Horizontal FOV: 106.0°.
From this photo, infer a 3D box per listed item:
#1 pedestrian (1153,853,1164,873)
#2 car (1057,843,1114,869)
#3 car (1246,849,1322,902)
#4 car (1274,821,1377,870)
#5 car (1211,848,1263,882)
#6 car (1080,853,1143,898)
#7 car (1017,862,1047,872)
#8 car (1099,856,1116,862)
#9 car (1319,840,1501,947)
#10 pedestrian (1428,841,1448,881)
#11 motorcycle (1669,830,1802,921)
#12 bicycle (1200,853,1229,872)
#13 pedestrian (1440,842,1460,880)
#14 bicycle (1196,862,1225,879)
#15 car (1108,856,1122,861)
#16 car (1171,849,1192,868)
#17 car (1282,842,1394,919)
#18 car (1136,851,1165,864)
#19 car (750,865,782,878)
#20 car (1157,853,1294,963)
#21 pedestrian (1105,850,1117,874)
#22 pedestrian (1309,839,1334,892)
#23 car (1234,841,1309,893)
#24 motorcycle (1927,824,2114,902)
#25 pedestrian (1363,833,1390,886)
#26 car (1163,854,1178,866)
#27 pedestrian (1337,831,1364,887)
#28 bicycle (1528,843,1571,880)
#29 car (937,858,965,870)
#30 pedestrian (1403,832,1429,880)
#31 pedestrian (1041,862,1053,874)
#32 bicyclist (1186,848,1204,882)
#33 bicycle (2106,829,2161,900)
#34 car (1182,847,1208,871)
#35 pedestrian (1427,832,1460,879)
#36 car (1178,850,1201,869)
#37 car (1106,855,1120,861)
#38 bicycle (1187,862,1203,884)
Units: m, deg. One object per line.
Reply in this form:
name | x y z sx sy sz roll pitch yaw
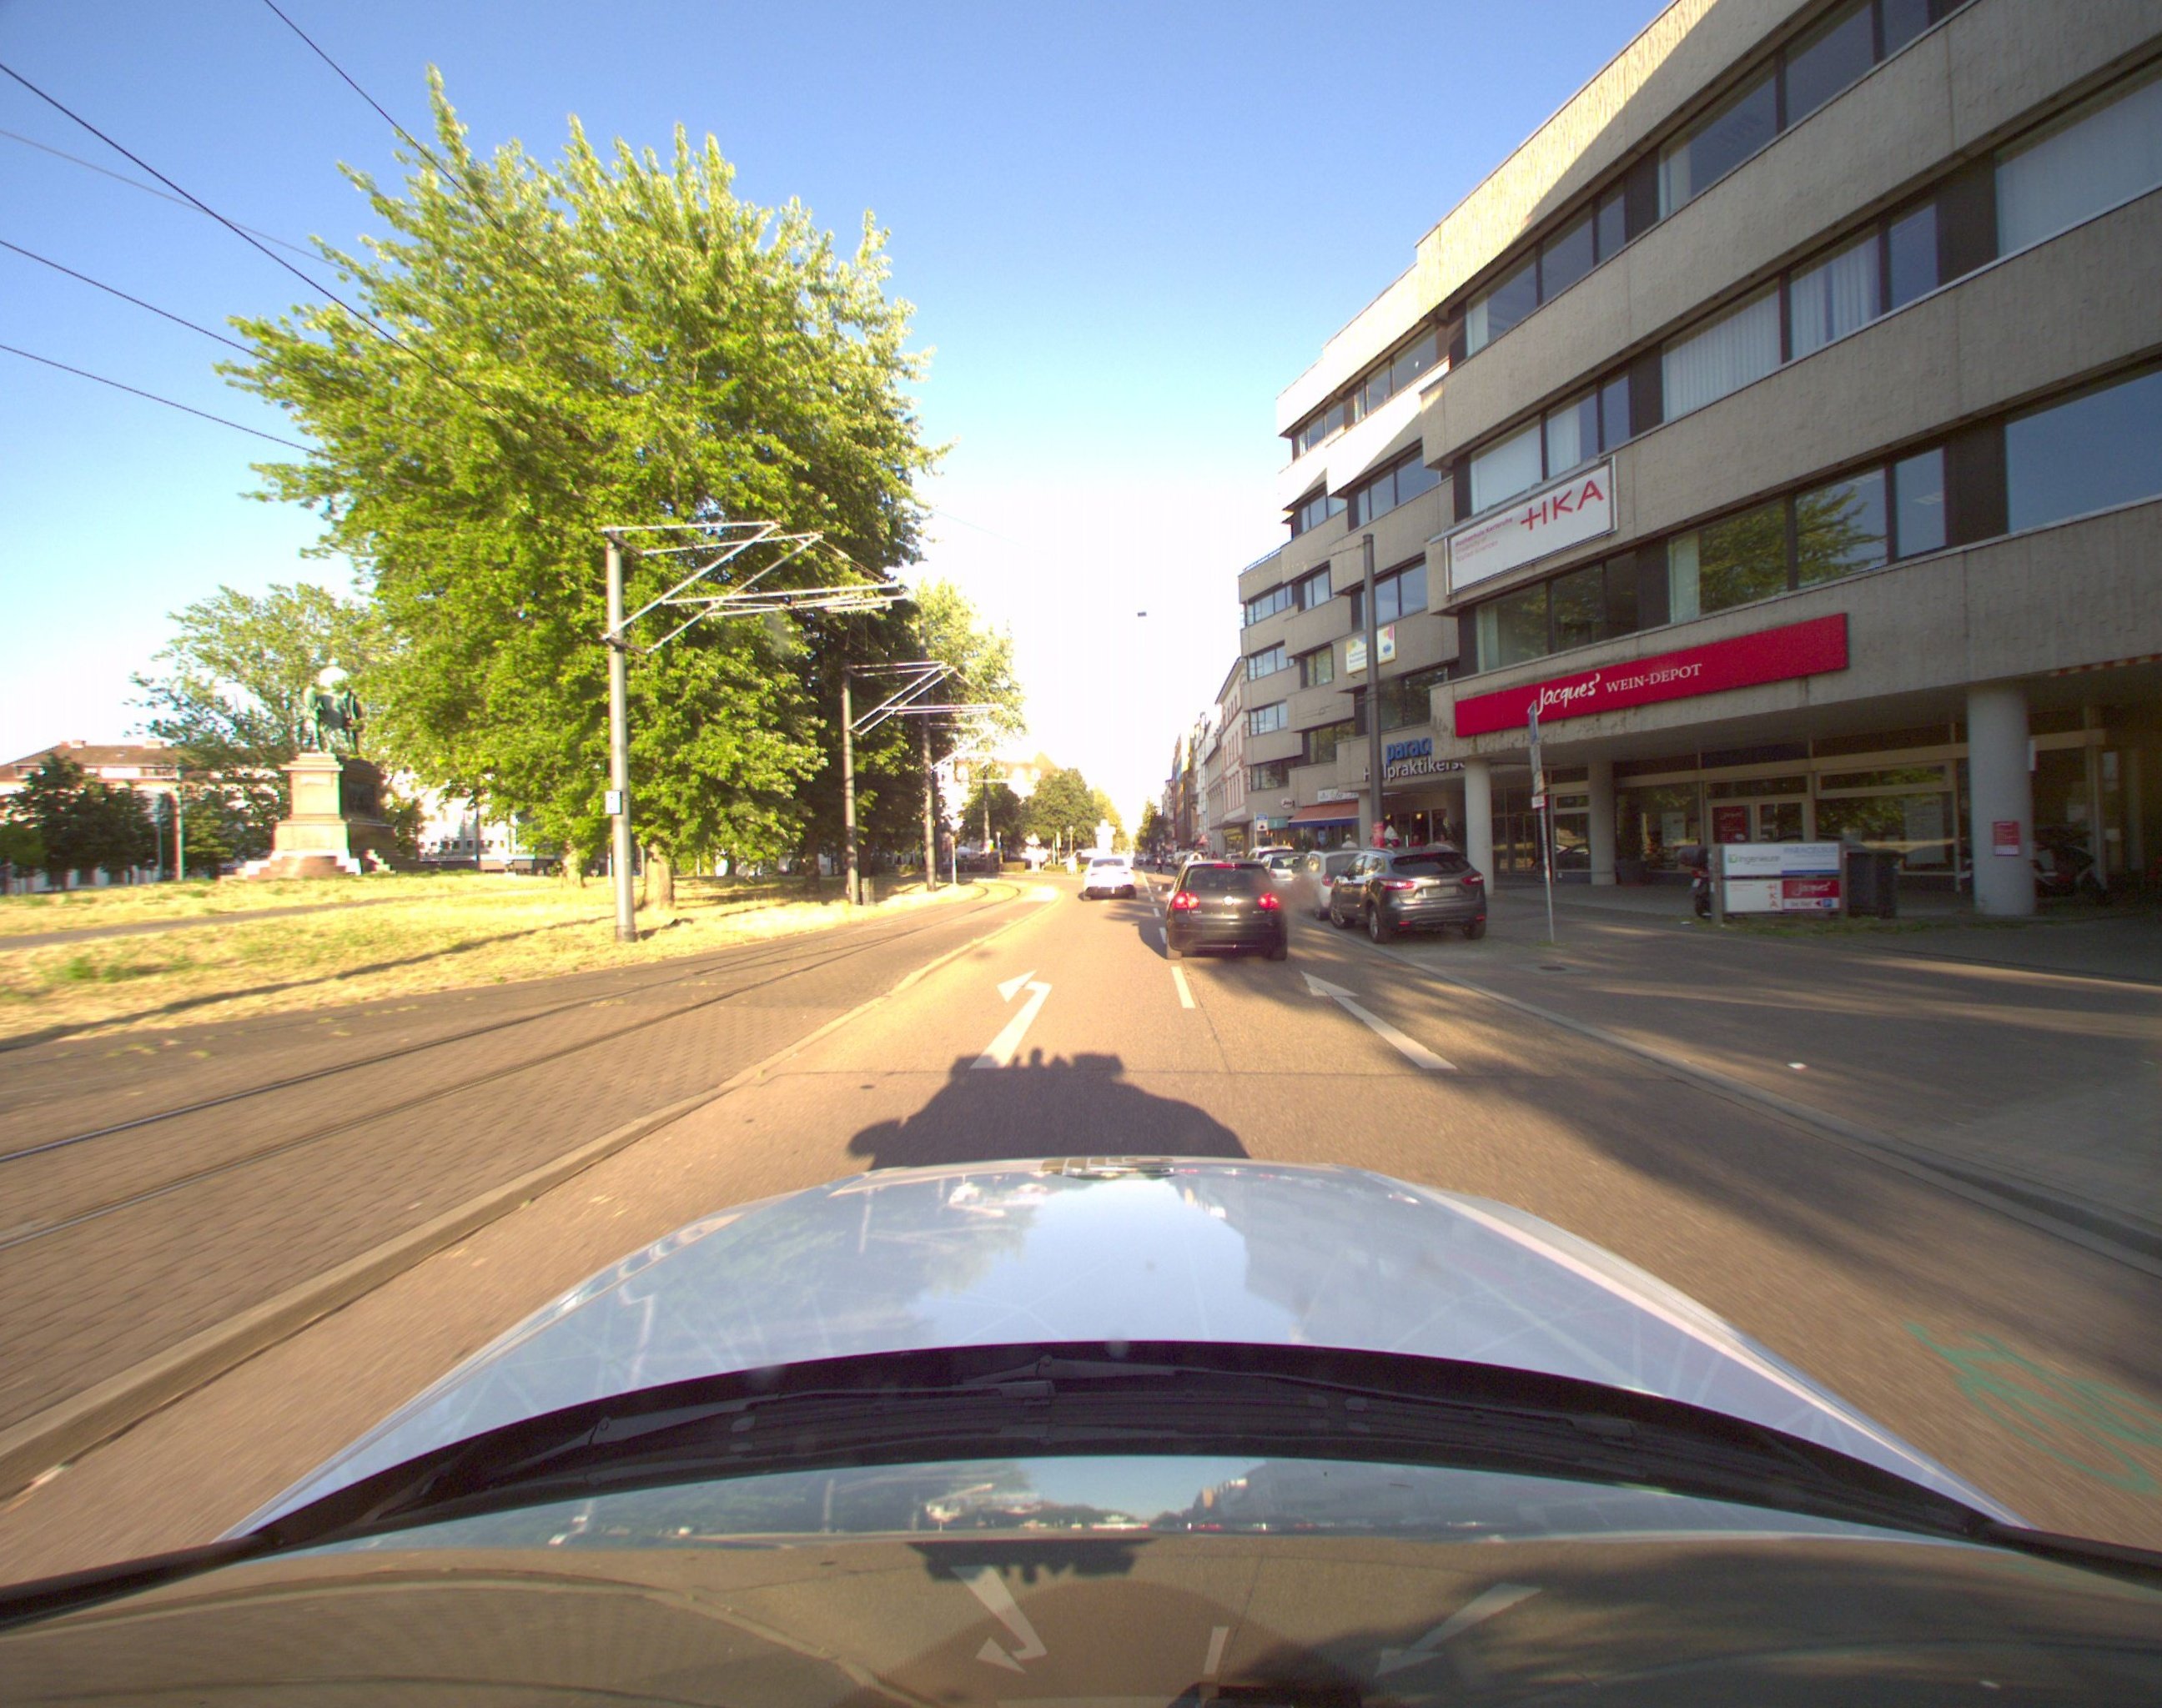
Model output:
pedestrian | 6.095 0.689 64.224 0.733 1.555 0.632 -1 -1 0
car | 0.501 0.188 85.454 5.535 2.594 2.138 -1 -1 -23
car | 6.337 0.616 25.762 1.654 1.441 3.860 -4 0 5
car | 13.818 -0.460 46.002 5.339 2.442 2.076 -3 -1 -23
car | 7.424 0.509 39.073 1.657 1.441 3.821 -4 0 -1
car | 1.149 0.764 28.742 1.855 1.441 4.204 -2 -2 7
car | -6.947 1.800 115.354 4.000 1.301 1.840 -1 0 -20
car | 5.768 1.003 175.597 3.380 1.287 1.666 -1 0 -12
car | 5.773 0.613 14.879 1.774 1.556 4.239 -4 0 4
pedestrian | 15.946 0.298 36.347 0.599 1.759 0.518 0 0 -20
motorcycle | 10.544 0.332 13.138 1.782 1.331 0.581 -3 0 -9
bicycle | 8.410 0.554 51.338 1.586 1.119 0.616 -4 0 37
pedestrian | 16.192 0.293 35.736 0.599 1.649 0.518 0 0 -20
bicycle | 8.839 1.105 55.702 1.828 1.045 0.584 -4 0 33
car | 8.852 1.191 214.438 3.380 1.287 1.666 -1 0 -12
car | 10.515 0.479 85.172 1.916 1.841 4.022 -3 -1 5
car | 6.052 0.579 19.604 1.601 1.556 3.612 -4 0 2
car | 10.686 0.523 125.036 4.013 1.772 1.980 -2 0 -31
car | -39.323 2.152 101.741 3.624 1.552 1.651 -1 -1 -20
car | 2.161 0.738 13.147 1.740 1.461 4.108 -1 0 4
pedestrian | 2.219 0.590 60.298 0.857 1.706 0.940 -1 -1 -3
pedestrian | 8.326 0.399 28.204 0.576 1.760 0.662 -4 -1 4
car | 7.223 0.472 31.371 1.860 1.713 4.507 -4 0 2
motorcycle | 15.234 0.159 13.262 1.997 1.204 0.532 -2 -1 17
pedestrian | 10.146 0.189 27.973 0.619 1.740 0.662 -4 -1 4
car | 12.216 0.808 111.363 1.745 1.510 3.547 -3 -1 2
pedestrian | 9.279 0.172 28.090 0.619 1.858 0.662 -4 -1 4
bicycle | 14.964 0.220 25.992 1.767 1.072 0.478 -4 0 -36
car | -17.783 1.306 111.342 3.624 1.552 1.651 -1 -1 -20
pedestrian | 12.275 0.067 29.826 0.690 1.727 1.039 -3 0 29
pedestrian | -3.612 1.451 86.162 1.102 1.226 0.853 0 -1 -23
bicyclist | 5.411 0.521 38.626 0.774 1.618 1.026 -1 0 3
bicycle | 17.686 0.133 13.196 1.864 1.074 0.482 -3 0 -10
car | 9.443 0.407 67.654 1.727 1.800 3.920 -3 -1 3
pedestrian | 13.150 0.056 29.550 0.979 1.673 0.646 -3 0 29
car | 9.616 0.487 72.406 1.727 1.617 3.920 -3 -1 3
car | 8.093 1.005 206.717 3.380 1.287 1.666 -1 0 -12
bicycle | 5.396 0.897 38.650 0.576 0.987 1.937 -1 0 3
